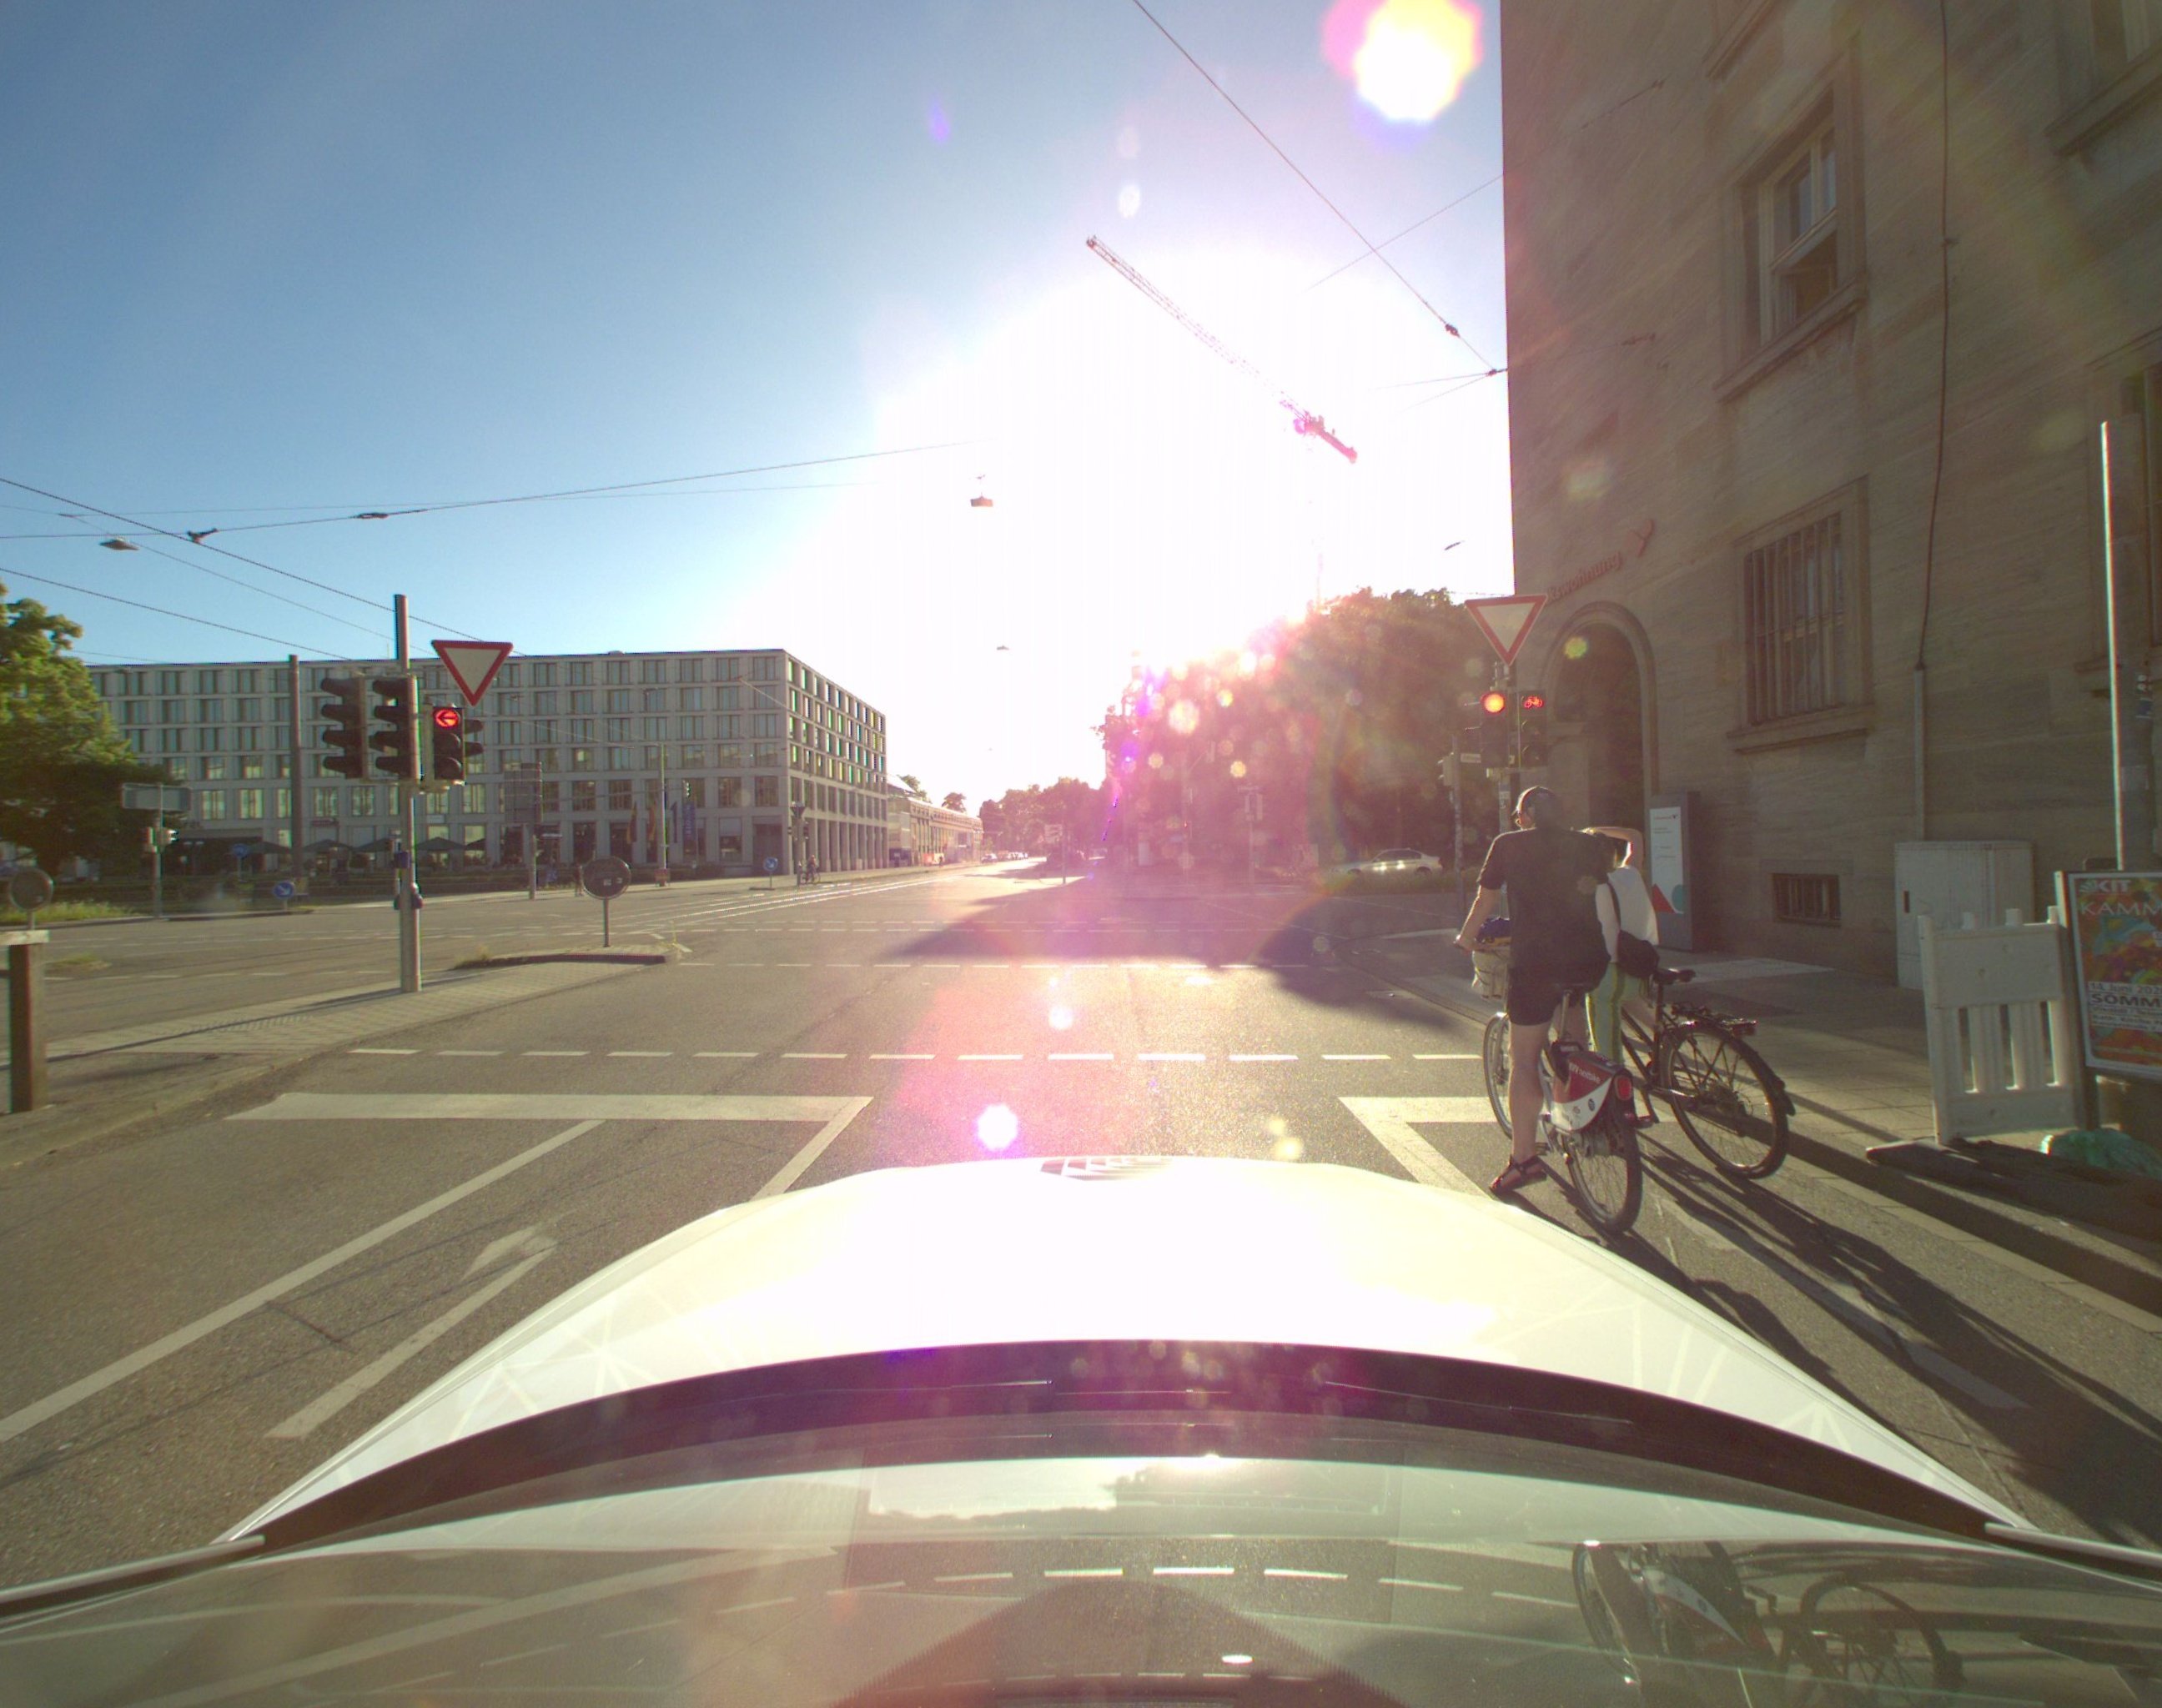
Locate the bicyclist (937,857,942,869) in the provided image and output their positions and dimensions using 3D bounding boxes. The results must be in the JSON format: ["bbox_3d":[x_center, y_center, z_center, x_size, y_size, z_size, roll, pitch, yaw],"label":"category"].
[{"bbox_3d":[-17.755,1.124,102.161,0.492,1.498,0.667,-2,0,4],"label":"bicyclist"}]

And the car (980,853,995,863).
[{"bbox_3d":[-15.829,0.705,138.164,1.987,1.599,4.000,-2,0,0],"label":"car"}]

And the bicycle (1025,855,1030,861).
[{"bbox_3d":[-11.878,0.852,181.261,0.748,1.205,3.108,0,-1,1],"label":"bicycle"}]

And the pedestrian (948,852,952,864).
[{"bbox_3d":[-21.157,0.624,131.469,0.582,1.889,0.481,-1,-1,24],"label":"pedestrian"}]

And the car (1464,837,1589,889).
[{"bbox_3d":[17.892,0.352,32.849,3.970,2.014,2.002,0,-1,3],"label":"car"}]

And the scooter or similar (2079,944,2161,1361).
[{"bbox_3d":[3.319,0.825,1.815,0.571,1.150,1.271,0,-2,-2],"label":"scooter or similar"}]

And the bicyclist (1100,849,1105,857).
[{"bbox_3d":[5.293,-0.217,200.307,0.891,2.014,0.746,0,-1,-10],"label":"bicyclist"}]

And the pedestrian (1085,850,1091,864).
[{"bbox_3d":[0.806,0.403,97.811,0.576,1.689,0.584,-2,0,-6],"label":"pedestrian"}]

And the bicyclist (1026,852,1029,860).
[{"bbox_3d":[-11.885,0.476,181.145,0.748,1.920,1.214,0,-1,1],"label":"bicyclist"}]

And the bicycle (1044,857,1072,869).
[{"bbox_3d":[-1.891,0.713,67.432,2.240,0.940,0.653,-2,0,-4],"label":"bicycle"}]

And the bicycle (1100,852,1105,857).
[{"bbox_3d":[5.284,0.228,200.390,0.890,1.219,2.784,0,-1,-9],"label":"bicycle"}]

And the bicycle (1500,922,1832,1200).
[{"bbox_3d":[2.976,0.970,4.395,0.579,1.044,1.748,-2,0,3],"label":"bicycle"}]

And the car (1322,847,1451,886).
[{"bbox_3d":[12.445,0.505,33.406,4.559,1.516,2.001,0,-1,1],"label":"car"}]

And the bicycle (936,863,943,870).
[{"bbox_3d":[-17.734,1.577,102.153,0.492,0.839,1.158,-2,0,4],"label":"bicycle"}]

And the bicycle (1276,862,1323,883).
[{"bbox_3d":[9.722,0.830,36.275,1.932,0.889,0.719,-1,-1,8],"label":"bicycle"}]

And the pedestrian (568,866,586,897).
[{"bbox_3d":[-28.207,1.526,45.568,0.599,1.681,0.609,-2,0,19],"label":"pedestrian"}]

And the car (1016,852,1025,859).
[{"bbox_3d":[-14.447,0.278,195.316,1.988,1.644,3.998,-2,0,-1],"label":"car"}]

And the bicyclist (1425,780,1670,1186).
[{"bbox_3d":[2.188,0.550,3.939,0.621,1.715,0.913,-2,0,0],"label":"bicyclist"}]

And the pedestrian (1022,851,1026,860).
[{"bbox_3d":[-12.318,0.297,176.562,0.746,2.063,1.052,0,-1,7],"label":"pedestrian"}]

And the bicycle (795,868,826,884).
[{"bbox_3d":[-14.698,1.185,44.314,1.696,0.823,0.577,-2,0,29],"label":"bicycle"}]

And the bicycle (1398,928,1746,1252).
[{"bbox_3d":[2.195,0.971,3.949,0.621,1.044,1.747,-2,0,1],"label":"bicycle"}]

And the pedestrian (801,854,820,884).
[{"bbox_3d":[-14.703,0.795,44.309,0.735,1.595,0.577,-2,0,29],"label":"pedestrian"}]

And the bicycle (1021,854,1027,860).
[{"bbox_3d":[-12.308,0.722,176.490,0.746,1.205,3.114,0,-1,7],"label":"bicycle"}]

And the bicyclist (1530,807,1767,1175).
[{"bbox_3d":[2.966,0.655,4.361,0.581,1.738,0.951,-2,0,2],"label":"bicyclist"}]

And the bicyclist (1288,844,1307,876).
[{"bbox_3d":[9.629,0.267,36.288,0.742,1.406,0.704,-1,-1,8],"label":"bicyclist"}]
